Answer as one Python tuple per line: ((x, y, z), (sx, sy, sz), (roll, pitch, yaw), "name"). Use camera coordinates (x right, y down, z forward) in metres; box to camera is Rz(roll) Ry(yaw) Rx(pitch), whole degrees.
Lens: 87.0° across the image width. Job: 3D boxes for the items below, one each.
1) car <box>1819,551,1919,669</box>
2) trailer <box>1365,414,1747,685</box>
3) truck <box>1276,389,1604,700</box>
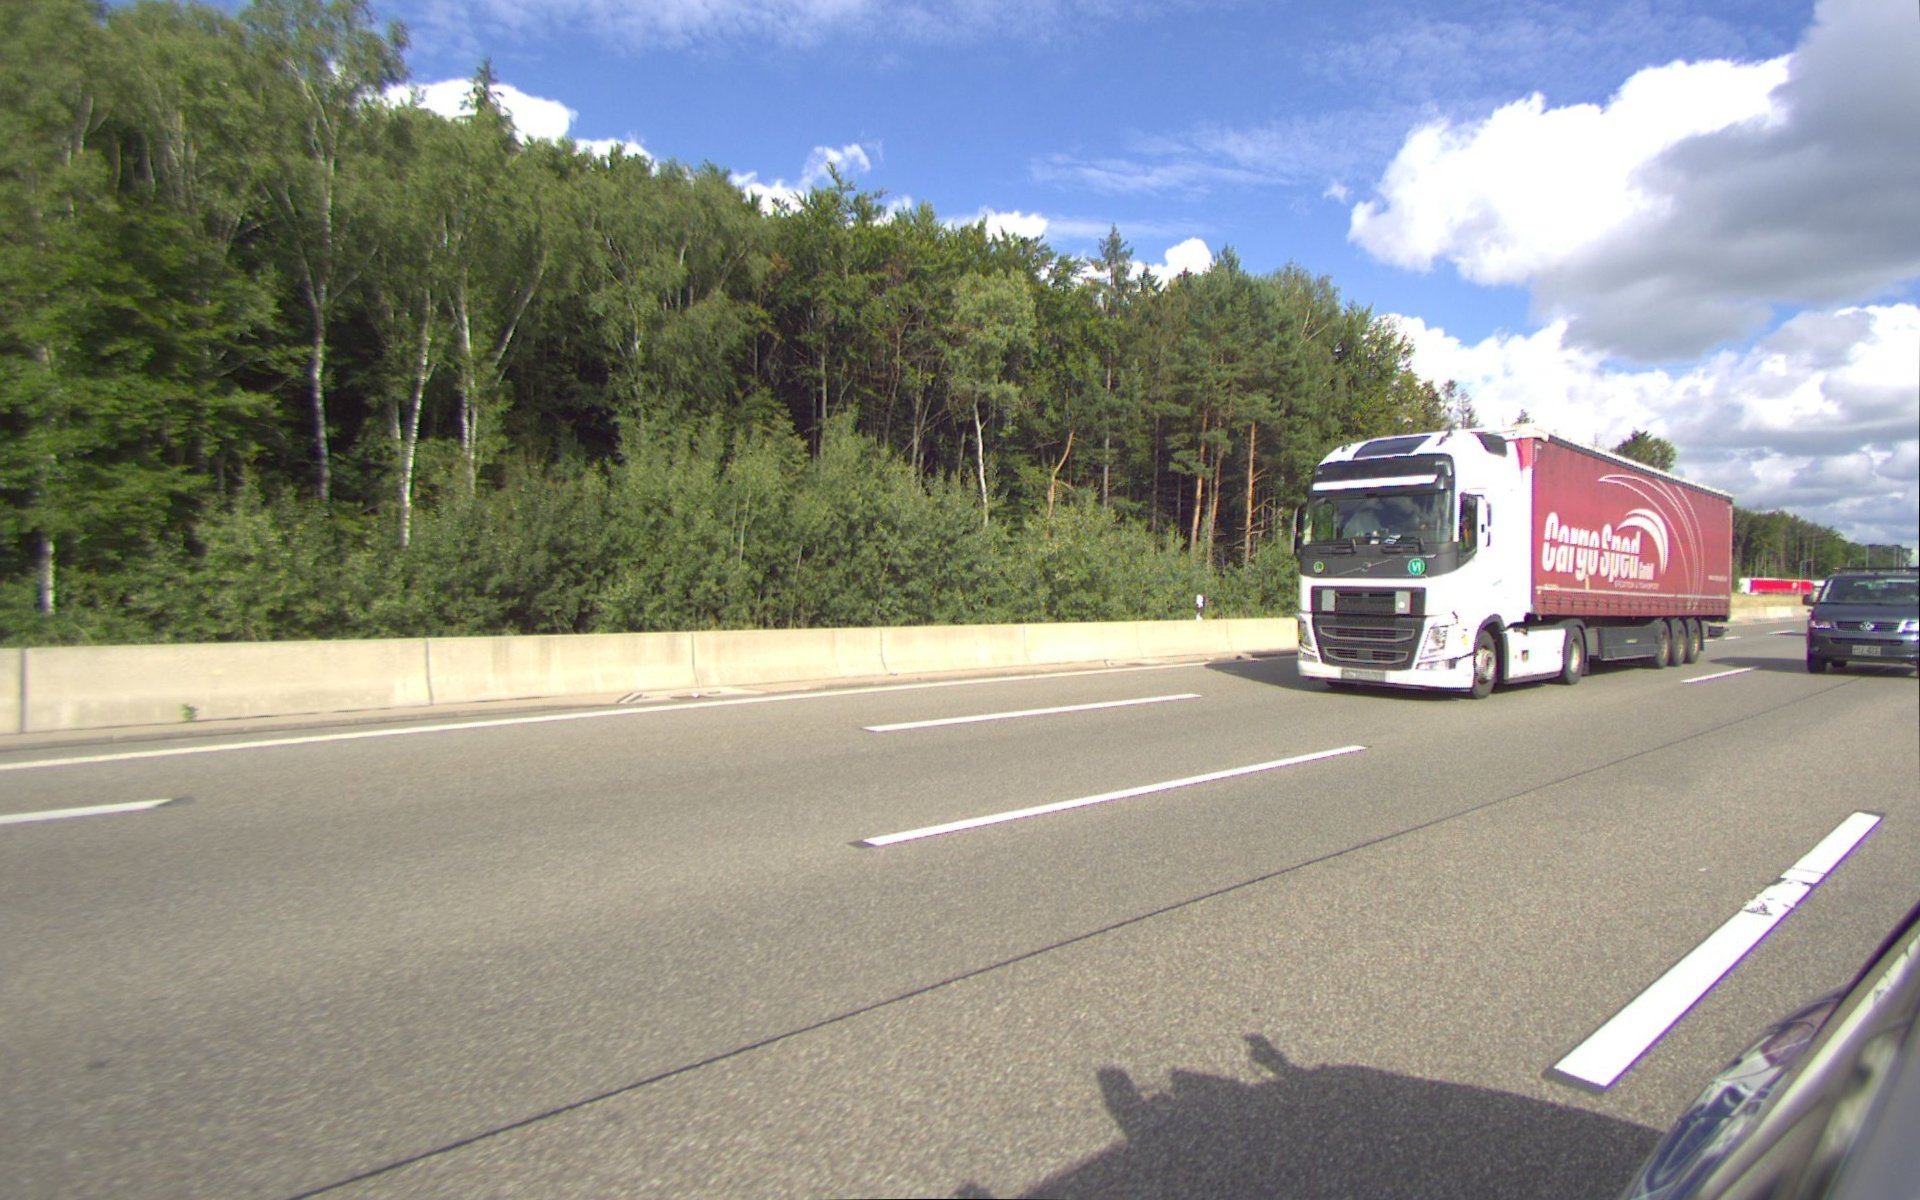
((18.879, 0.172, 20.300), (4.846, 2.136, 1.852), (0, 0, -41), "car")
((12.918, -0.795, 20.826), (13.476, 4.096, 2.778), (0, 1, -42), "trailer")
((7.858, -0.757, 16.294), (5.673, 4.096, 2.778), (0, 0, -42), "truck")
